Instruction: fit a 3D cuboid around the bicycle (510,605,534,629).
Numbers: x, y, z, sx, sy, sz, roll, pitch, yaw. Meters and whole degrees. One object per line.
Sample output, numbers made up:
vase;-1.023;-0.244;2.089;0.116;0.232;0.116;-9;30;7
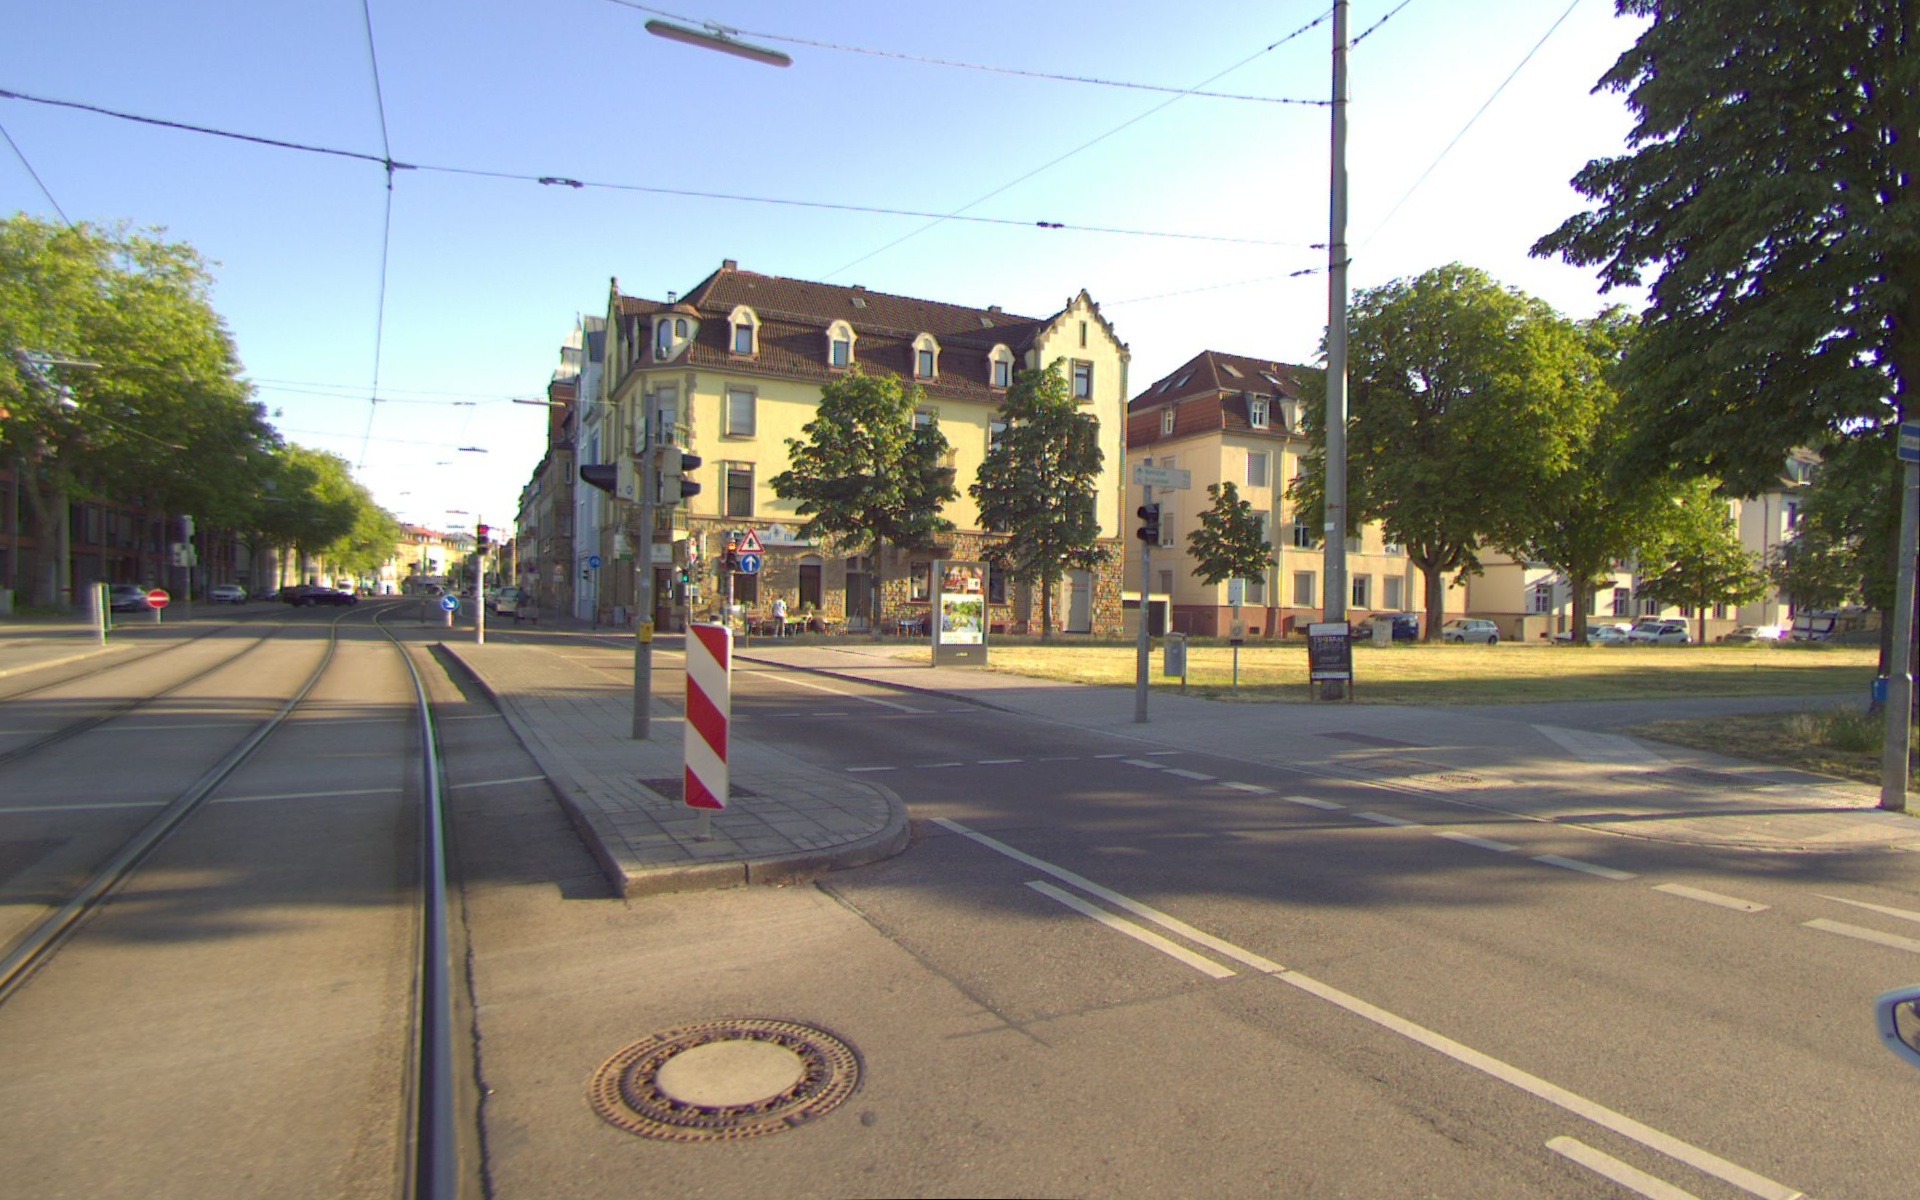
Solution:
bicycle;-22.645;0.867;51.954;0.861;1.177;3.070;2;-1;-19

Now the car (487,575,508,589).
car;-61.868;-2.462;134.316;1.906;1.716;3.962;2;1;-34

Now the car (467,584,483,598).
car;-62.412;-1.168;129.232;1.755;1.694;3.752;2;2;-27

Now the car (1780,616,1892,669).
car;57.431;2.790;65.836;7.745;3.173;2.385;1;3;-25

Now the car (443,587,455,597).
car;-77.048;-1.179;151.489;1.530;1.388;3.437;2;2;-27

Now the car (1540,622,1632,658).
car;34.472;2.199;55.322;4.506;1.681;1.989;2;2;-23

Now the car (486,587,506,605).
car;-51.521;-0.441;111.501;1.777;1.855;3.765;2;2;-27

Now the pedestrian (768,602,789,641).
pedestrian;-7.890;0.946;43.612;0.674;1.646;0.613;2;2;-26

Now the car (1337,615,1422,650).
car;23.774;1.826;56.897;4.250;1.759;1.989;2;2;-23

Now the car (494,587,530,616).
car;-30.751;0.111;68.904;2.006;1.760;3.752;2;2;-27

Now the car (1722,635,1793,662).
car;56.649;3.447;71.349;4.506;1.681;1.989;2;2;-23

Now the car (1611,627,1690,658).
car;39.600;2.433;57.598;4.361;1.575;1.789;1;2;-26

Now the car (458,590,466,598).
car;-103.507;-1.292;208.792;1.530;1.484;3.278;2;2;-27

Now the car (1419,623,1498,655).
car;29.379;2.293;59.222;3.943;1.681;1.989;2;2;-23

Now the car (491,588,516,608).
car;-43.805;-0.229;96.437;1.975;1.694;3.752;2;2;-27

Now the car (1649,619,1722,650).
car;49.813;2.350;68.937;4.813;1.976;1.987;2;0;-26

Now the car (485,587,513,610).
car;-39.254;-0.164;85.516;1.975;1.694;3.752;2;2;-27

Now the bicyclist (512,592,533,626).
bicyclist;-22.754;0.475;52.297;0.861;1.746;1.143;2;-1;-19

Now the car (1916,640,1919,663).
car;71.059;3.812;72.222;4.256;1.696;1.874;2;2;-24

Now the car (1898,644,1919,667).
car;78.204;4.540;81.104;4.312;1.681;1.989;2;2;-23
